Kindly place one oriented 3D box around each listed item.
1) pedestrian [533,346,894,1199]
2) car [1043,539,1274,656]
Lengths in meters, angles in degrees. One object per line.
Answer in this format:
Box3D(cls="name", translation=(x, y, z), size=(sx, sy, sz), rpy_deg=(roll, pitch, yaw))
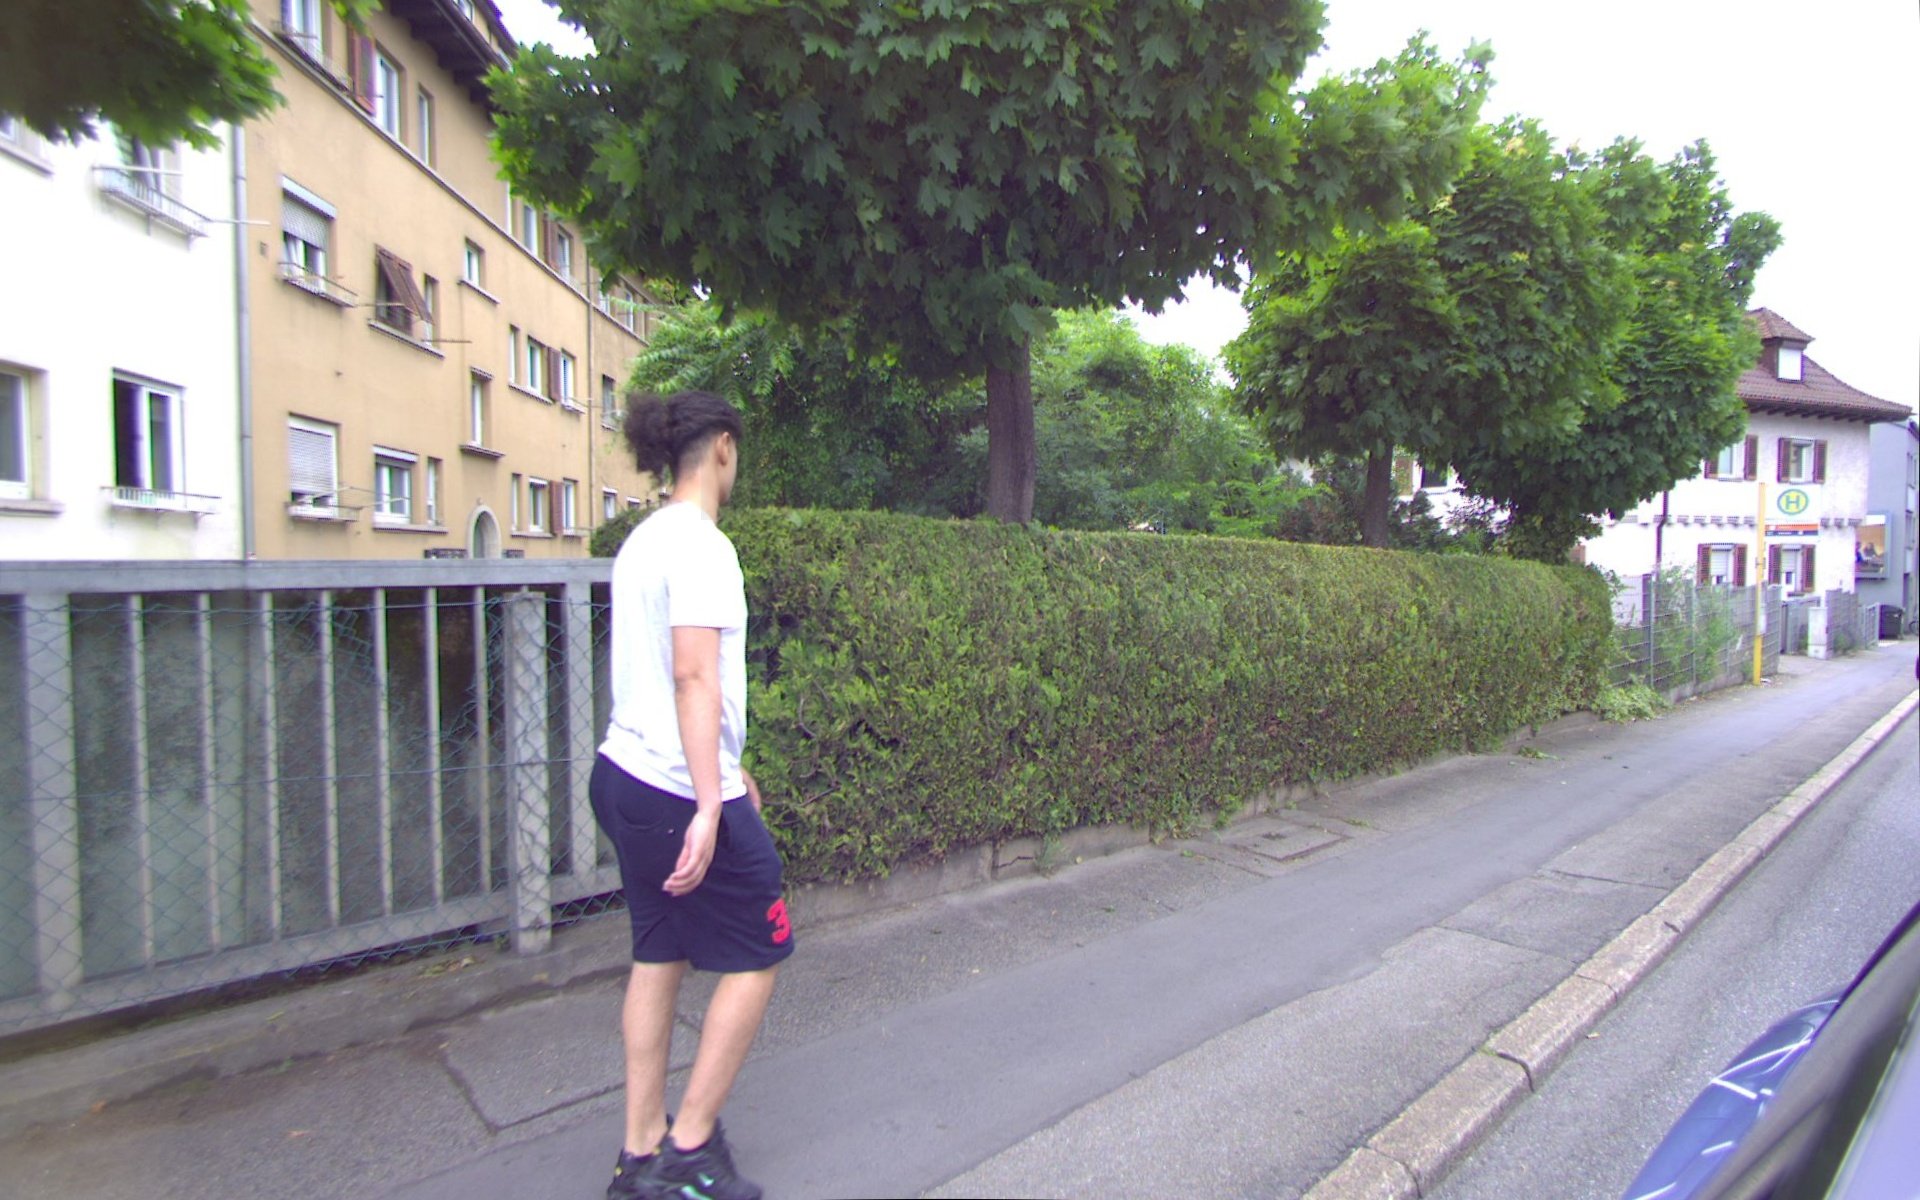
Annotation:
Box3D(cls="pedestrian", translation=(-0.578, 0.392, 2.267), size=(0.459, 1.758, 0.695), rpy_deg=(0, 4, -42))
Box3D(cls="car", translation=(3.665, -0.068, 19.271), size=(3.923, 2.039, 2.001), rpy_deg=(1, 1, -1))
